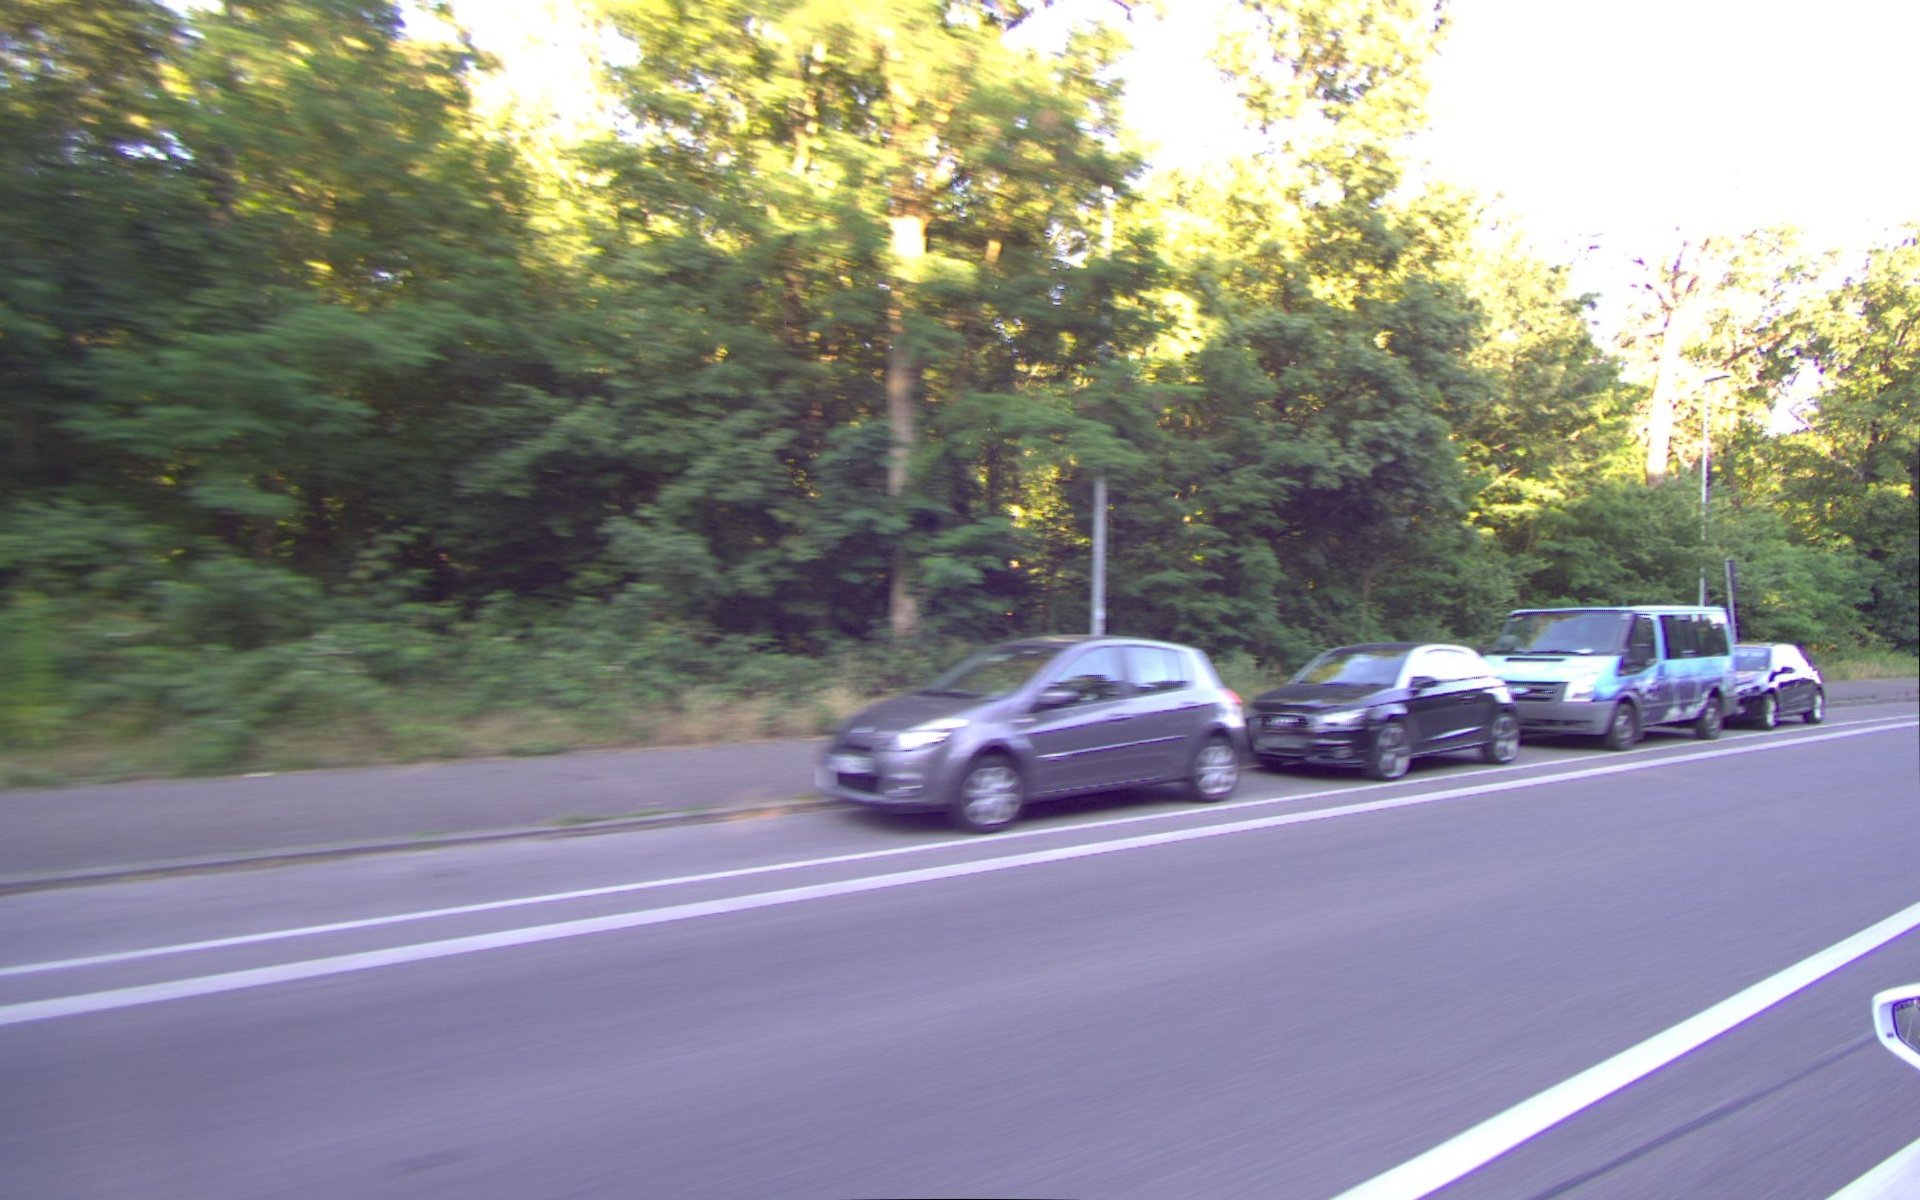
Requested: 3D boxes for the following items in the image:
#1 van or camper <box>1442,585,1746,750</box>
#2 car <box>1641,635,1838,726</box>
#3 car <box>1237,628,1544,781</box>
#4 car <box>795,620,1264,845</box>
[{"bbox_3d":[9.639,0.954,15.147,4.962,2.121,2.020,1,-3,-34],"label":"van or camper"},{"bbox_3d":[14.233,1.395,18.275,4.202,1.481,1.676,1,-3,-36],"label":"car"},{"bbox_3d":[5.137,1.111,11.797,3.934,1.513,1.532,2,-3,-36],"label":"car"},{"bbox_3d":[0.717,0.989,8.780,4.000,1.554,1.606,1,-3,-35],"label":"car"}]
